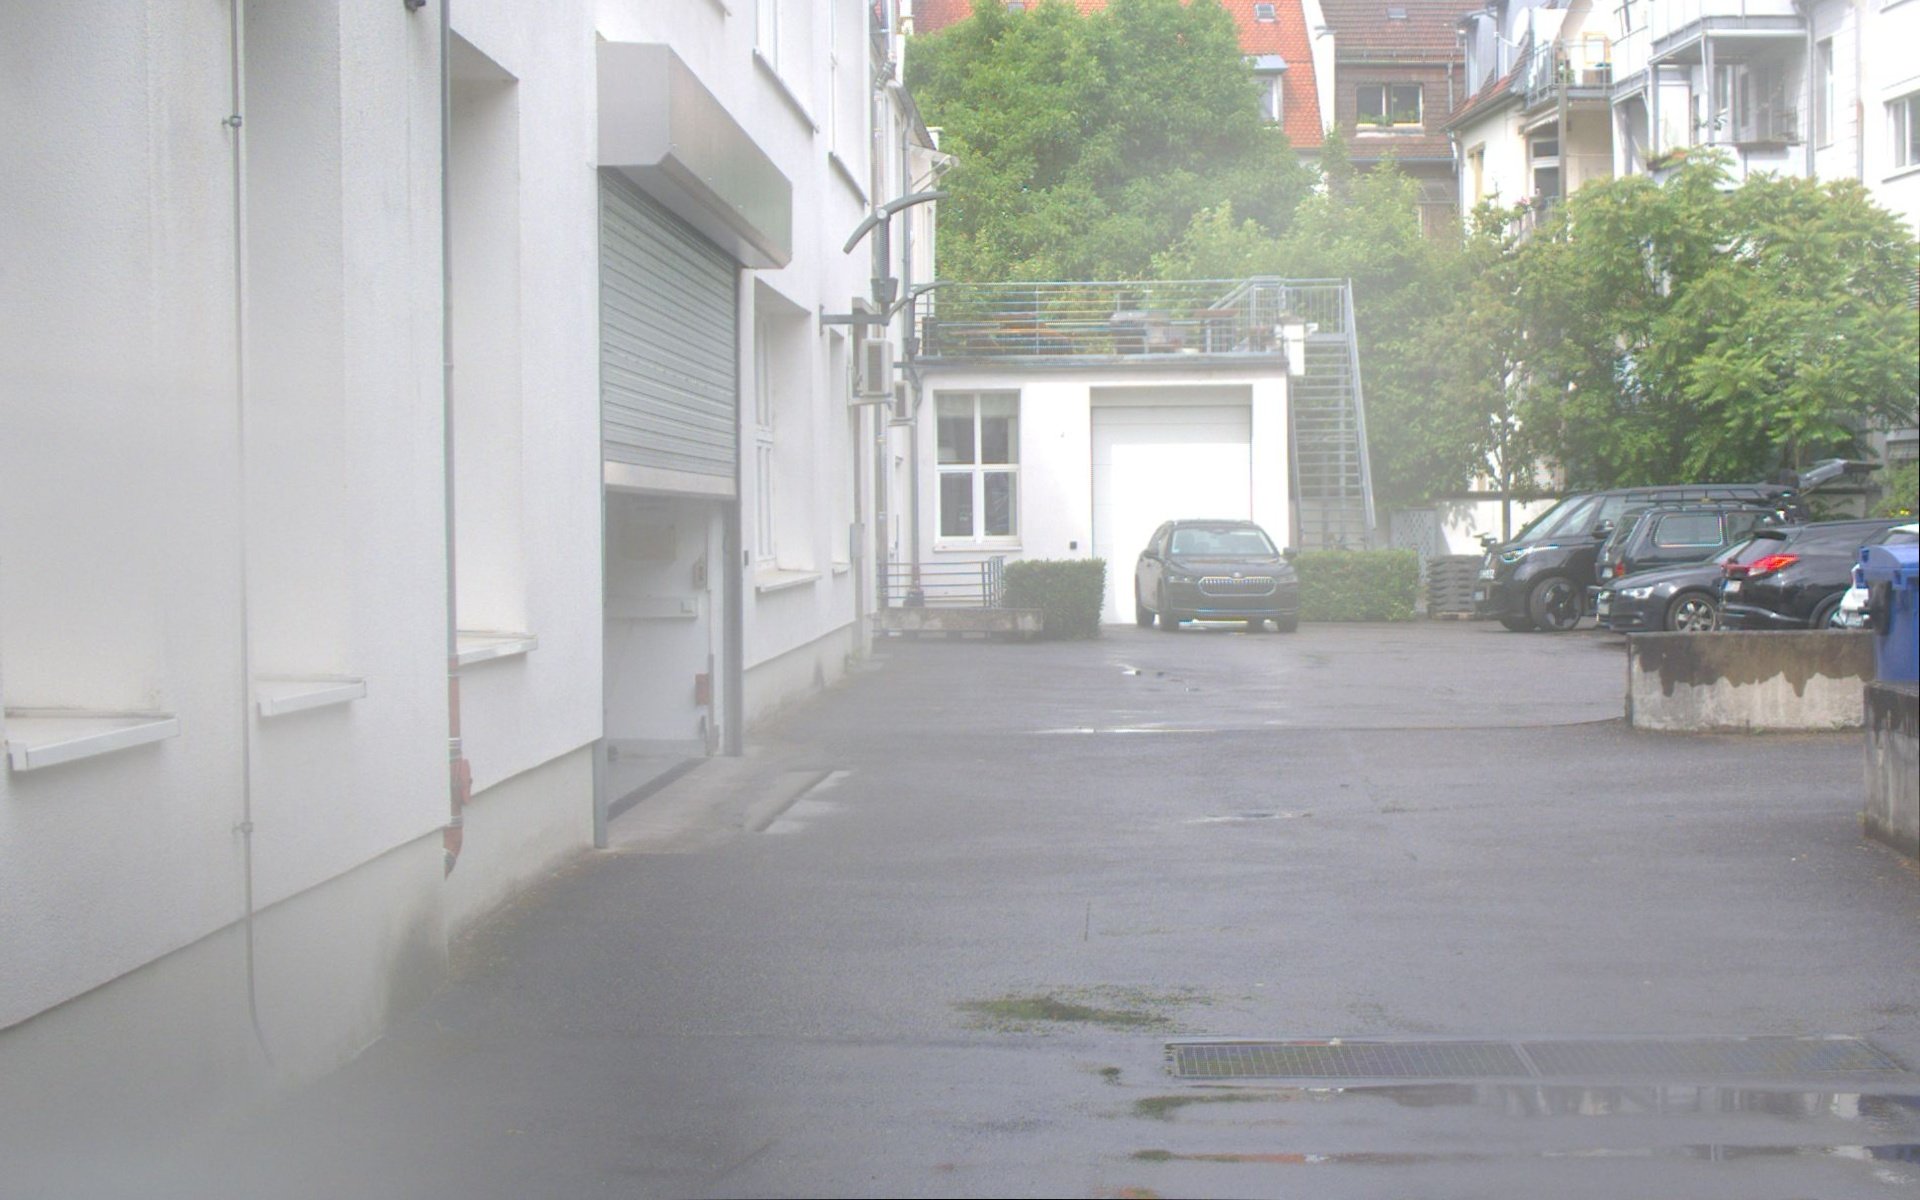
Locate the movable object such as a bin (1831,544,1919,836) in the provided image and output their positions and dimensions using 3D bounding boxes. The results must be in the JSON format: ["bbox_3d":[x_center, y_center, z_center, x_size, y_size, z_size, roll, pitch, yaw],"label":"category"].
[{"bbox_3d":[4.854,0.388,16.035,1.337,1.287,1.095,-1,2,4],"label":"movable object such as a bin"}]

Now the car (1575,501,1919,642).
[{"bbox_3d":[9.390,-0.345,40.439,3.908,1.508,1.752,-2,1,-3],"label":"car"}]

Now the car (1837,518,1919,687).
[{"bbox_3d":[9.939,-0.069,30.119,3.986,1.398,1.773,-2,2,-3],"label":"car"}]

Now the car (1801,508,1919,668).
[{"bbox_3d":[10.221,-0.171,32.613,3.986,1.453,1.773,-2,1,-3],"label":"car"}]

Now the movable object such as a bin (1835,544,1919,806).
[{"bbox_3d":[5.329,0.358,17.752,1.372,1.300,1.083,-1,1,4],"label":"movable object such as a bin"}]

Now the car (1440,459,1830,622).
[{"bbox_3d":[9.050,-0.821,46.326,4.634,1.996,2.226,-2,2,-8],"label":"car"}]

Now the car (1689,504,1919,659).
[{"bbox_3d":[9.808,-0.237,35.850,3.908,1.508,1.820,-2,1,-5],"label":"car"}]

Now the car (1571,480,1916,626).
[{"bbox_3d":[9.866,-0.602,43.473,3.909,1.681,1.817,-2,1,1],"label":"car"}]

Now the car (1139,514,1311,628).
[{"bbox_3d":[3.510,-0.425,46.205,1.979,1.439,4.000,0,2,0],"label":"car"}]
